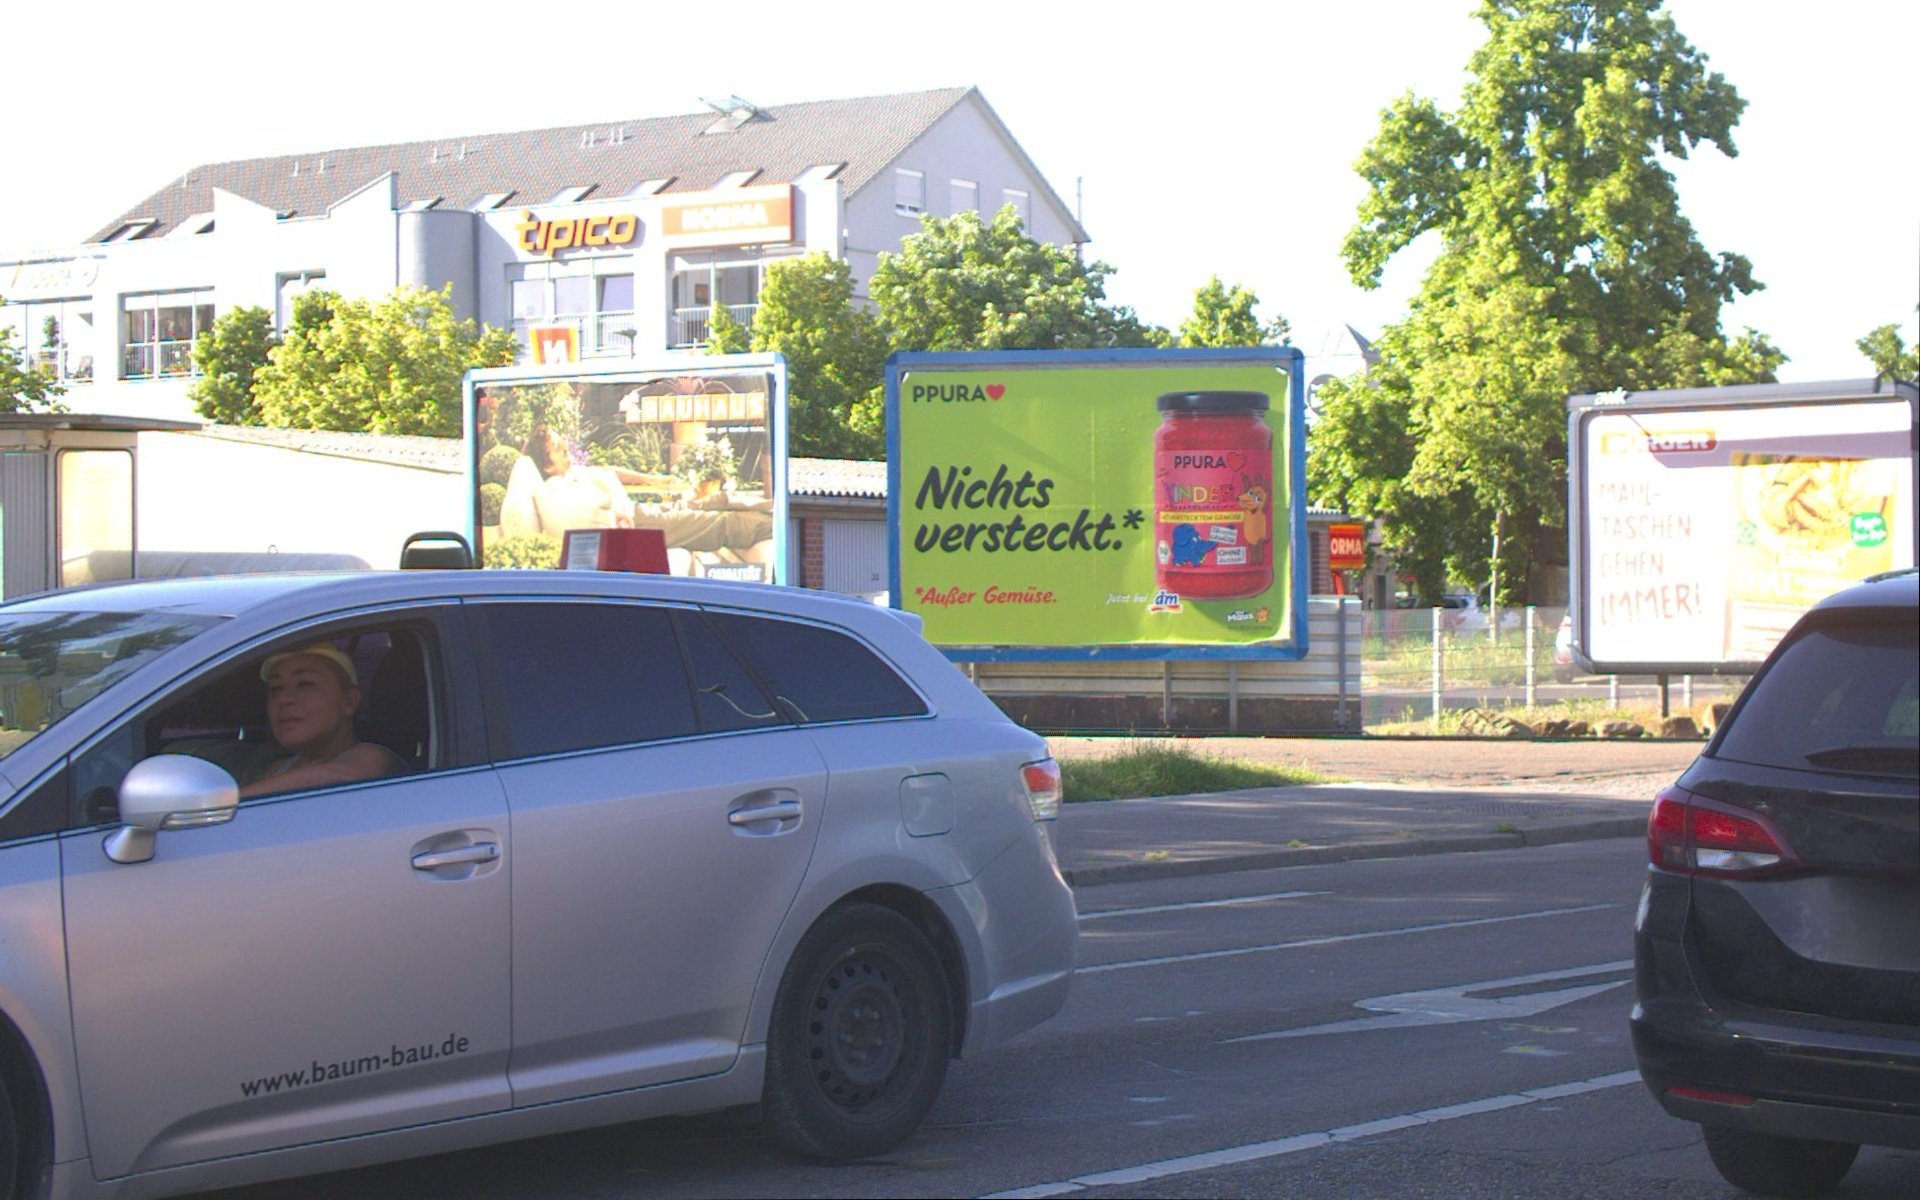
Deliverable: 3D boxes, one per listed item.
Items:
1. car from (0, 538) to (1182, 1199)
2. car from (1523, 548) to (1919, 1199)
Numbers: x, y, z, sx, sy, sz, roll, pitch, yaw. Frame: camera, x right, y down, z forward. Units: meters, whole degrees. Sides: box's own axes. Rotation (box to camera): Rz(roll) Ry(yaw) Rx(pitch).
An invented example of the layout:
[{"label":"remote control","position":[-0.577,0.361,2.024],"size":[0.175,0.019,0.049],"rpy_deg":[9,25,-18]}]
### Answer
[{"label":"car","position":[-1.756,0.627,8.084],"size":[1.841,1.484,4.877],"rpy_deg":[-1,0,43]},{"label":"car","position":[3.153,0.653,8.211],"size":[1.765,1.486,4.281],"rpy_deg":[1,0,37]}]
